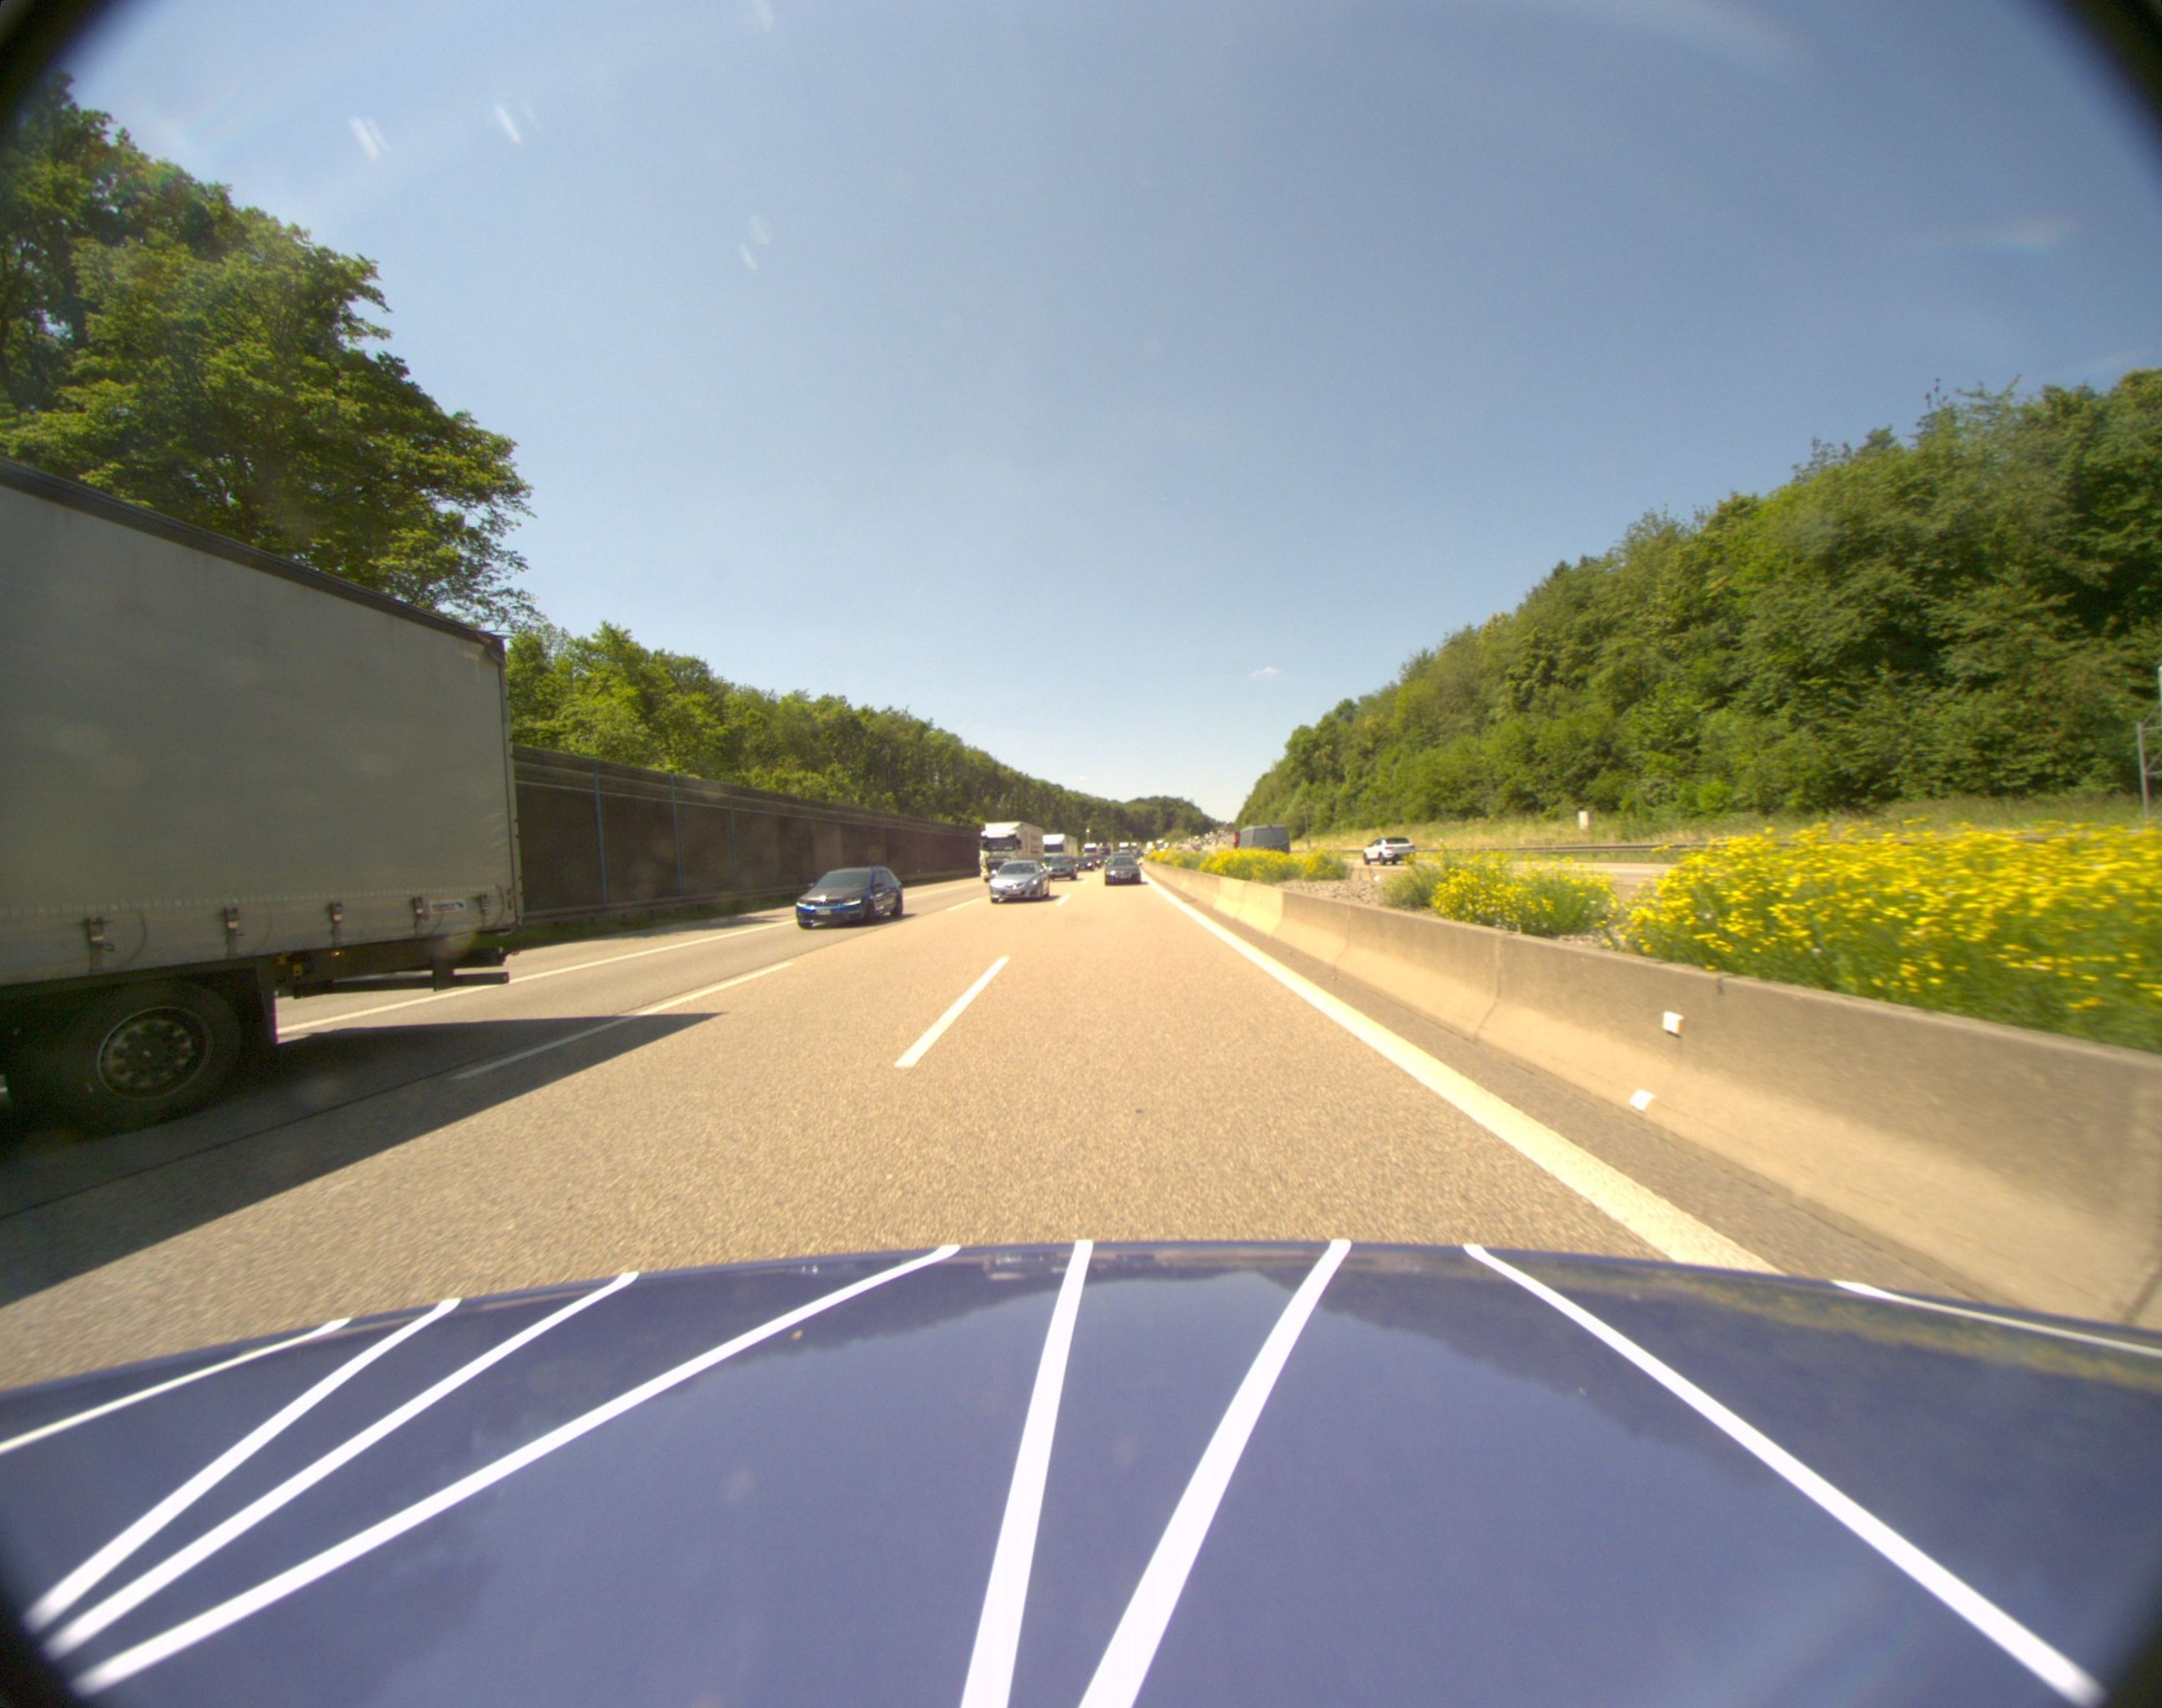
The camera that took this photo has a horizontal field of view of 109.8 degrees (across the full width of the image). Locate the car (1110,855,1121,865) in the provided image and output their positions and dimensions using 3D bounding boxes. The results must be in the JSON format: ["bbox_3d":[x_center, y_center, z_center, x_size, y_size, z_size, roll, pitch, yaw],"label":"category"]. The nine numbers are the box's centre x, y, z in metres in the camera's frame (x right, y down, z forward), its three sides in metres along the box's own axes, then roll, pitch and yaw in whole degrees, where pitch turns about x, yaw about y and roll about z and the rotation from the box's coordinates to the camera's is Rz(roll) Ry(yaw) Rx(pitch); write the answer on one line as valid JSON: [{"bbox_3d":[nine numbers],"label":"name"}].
[{"bbox_3d":[6.522,1.131,143.208,1.998,1.641,4.000,-3,0,3],"label":"car"}]

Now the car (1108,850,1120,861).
[{"bbox_3d":[5.430,0.200,124.940,1.998,1.641,4.000,-3,0,3],"label":"car"}]

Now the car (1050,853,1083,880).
[{"bbox_3d":[-0.862,0.775,48.289,1.907,1.550,4.000,-3,0,1],"label":"car"}]

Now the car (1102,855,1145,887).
[{"bbox_3d":[2.099,0.788,38.118,1.907,1.410,4.000,-3,0,1],"label":"car"}]

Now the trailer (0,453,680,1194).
[{"bbox_3d":[-7.222,-0.136,3.933,2.604,4.067,13.590,-2,1,1],"label":"trailer"}]

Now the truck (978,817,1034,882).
[{"bbox_3d":[-5.170,-0.339,53.284,2.811,4.190,5.422,-3,0,4],"label":"truck"}]

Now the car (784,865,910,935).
[{"bbox_3d":[-6.046,1.134,20.170,1.860,1.485,4.177,-3,0,2],"label":"car"}]

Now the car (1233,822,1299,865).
[{"bbox_3d":[9.626,-0.542,40.137,2.328,2.002,6.184,-2,1,4],"label":"car"}]

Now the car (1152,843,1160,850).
[{"bbox_3d":[21.406,-2.093,216.033,1.998,2.002,4.001,-3,0,4],"label":"car"}]

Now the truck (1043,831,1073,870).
[{"bbox_3d":[-2.515,-0.432,85.323,2.544,4.150,4.747,-3,0,6],"label":"truck"}]

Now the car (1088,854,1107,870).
[{"bbox_3d":[1.859,0.859,86.186,1.998,1.641,4.000,-3,0,3],"label":"car"}]

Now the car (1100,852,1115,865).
[{"bbox_3d":[3.634,0.561,103.966,1.998,1.641,4.000,-3,0,3],"label":"car"}]

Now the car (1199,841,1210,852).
[{"bbox_3d":[27.336,-1.659,167.836,1.998,2.385,4.001,-3,0,5],"label":"car"}]

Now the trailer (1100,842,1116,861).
[{"bbox_3d":[6.388,-0.584,178.178,3.154,4.061,6.185,-3,0,7],"label":"trailer"}]

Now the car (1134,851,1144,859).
[{"bbox_3d":[12.633,0.259,165.494,1.998,1.641,4.000,-3,0,3],"label":"car"}]

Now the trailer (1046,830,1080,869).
[{"bbox_3d":[-2.031,-0.548,89.757,2.541,4.150,10.180,-3,0,6],"label":"trailer"}]

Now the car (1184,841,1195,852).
[{"bbox_3d":[23.767,-1.656,167.047,1.998,2.385,4.001,-3,0,5],"label":"car"}]

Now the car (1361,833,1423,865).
[{"bbox_3d":[17.262,-0.307,42.366,1.780,1.619,4.118,-2,1,1],"label":"car"}]

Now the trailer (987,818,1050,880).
[{"bbox_3d":[-4.697,-0.377,60.317,2.821,4.190,13.467,-3,0,4],"label":"trailer"}]

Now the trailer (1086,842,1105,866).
[{"bbox_3d":[3.051,-0.051,153.417,2.853,4.391,13.030,-3,0,4],"label":"trailer"}]

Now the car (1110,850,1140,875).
[{"bbox_3d":[3.176,0.613,55.452,1.998,1.641,4.000,-2,1,3],"label":"car"}]

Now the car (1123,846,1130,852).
[{"bbox_3d":[14.336,-1.553,237.642,1.998,1.641,4.000,-3,0,3],"label":"car"}]

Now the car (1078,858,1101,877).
[{"bbox_3d":[0.863,1.297,72.821,1.998,1.641,4.000,-3,0,3],"label":"car"}]

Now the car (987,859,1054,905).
[{"bbox_3d":[-2.084,0.946,27.375,1.860,1.426,4.177,-3,0,2],"label":"car"}]

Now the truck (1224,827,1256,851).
[{"bbox_3d":[27.341,-2.554,131.694,3.929,3.697,16.747,-2,1,7],"label":"truck"}]

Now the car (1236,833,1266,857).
[{"bbox_3d":[19.593,-1.045,87.797,2.161,2.608,5.976,-2,1,2],"label":"car"}]

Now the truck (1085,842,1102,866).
[{"bbox_3d":[2.429,0.017,145.400,2.853,4.382,5.240,-3,0,4],"label":"truck"}]
